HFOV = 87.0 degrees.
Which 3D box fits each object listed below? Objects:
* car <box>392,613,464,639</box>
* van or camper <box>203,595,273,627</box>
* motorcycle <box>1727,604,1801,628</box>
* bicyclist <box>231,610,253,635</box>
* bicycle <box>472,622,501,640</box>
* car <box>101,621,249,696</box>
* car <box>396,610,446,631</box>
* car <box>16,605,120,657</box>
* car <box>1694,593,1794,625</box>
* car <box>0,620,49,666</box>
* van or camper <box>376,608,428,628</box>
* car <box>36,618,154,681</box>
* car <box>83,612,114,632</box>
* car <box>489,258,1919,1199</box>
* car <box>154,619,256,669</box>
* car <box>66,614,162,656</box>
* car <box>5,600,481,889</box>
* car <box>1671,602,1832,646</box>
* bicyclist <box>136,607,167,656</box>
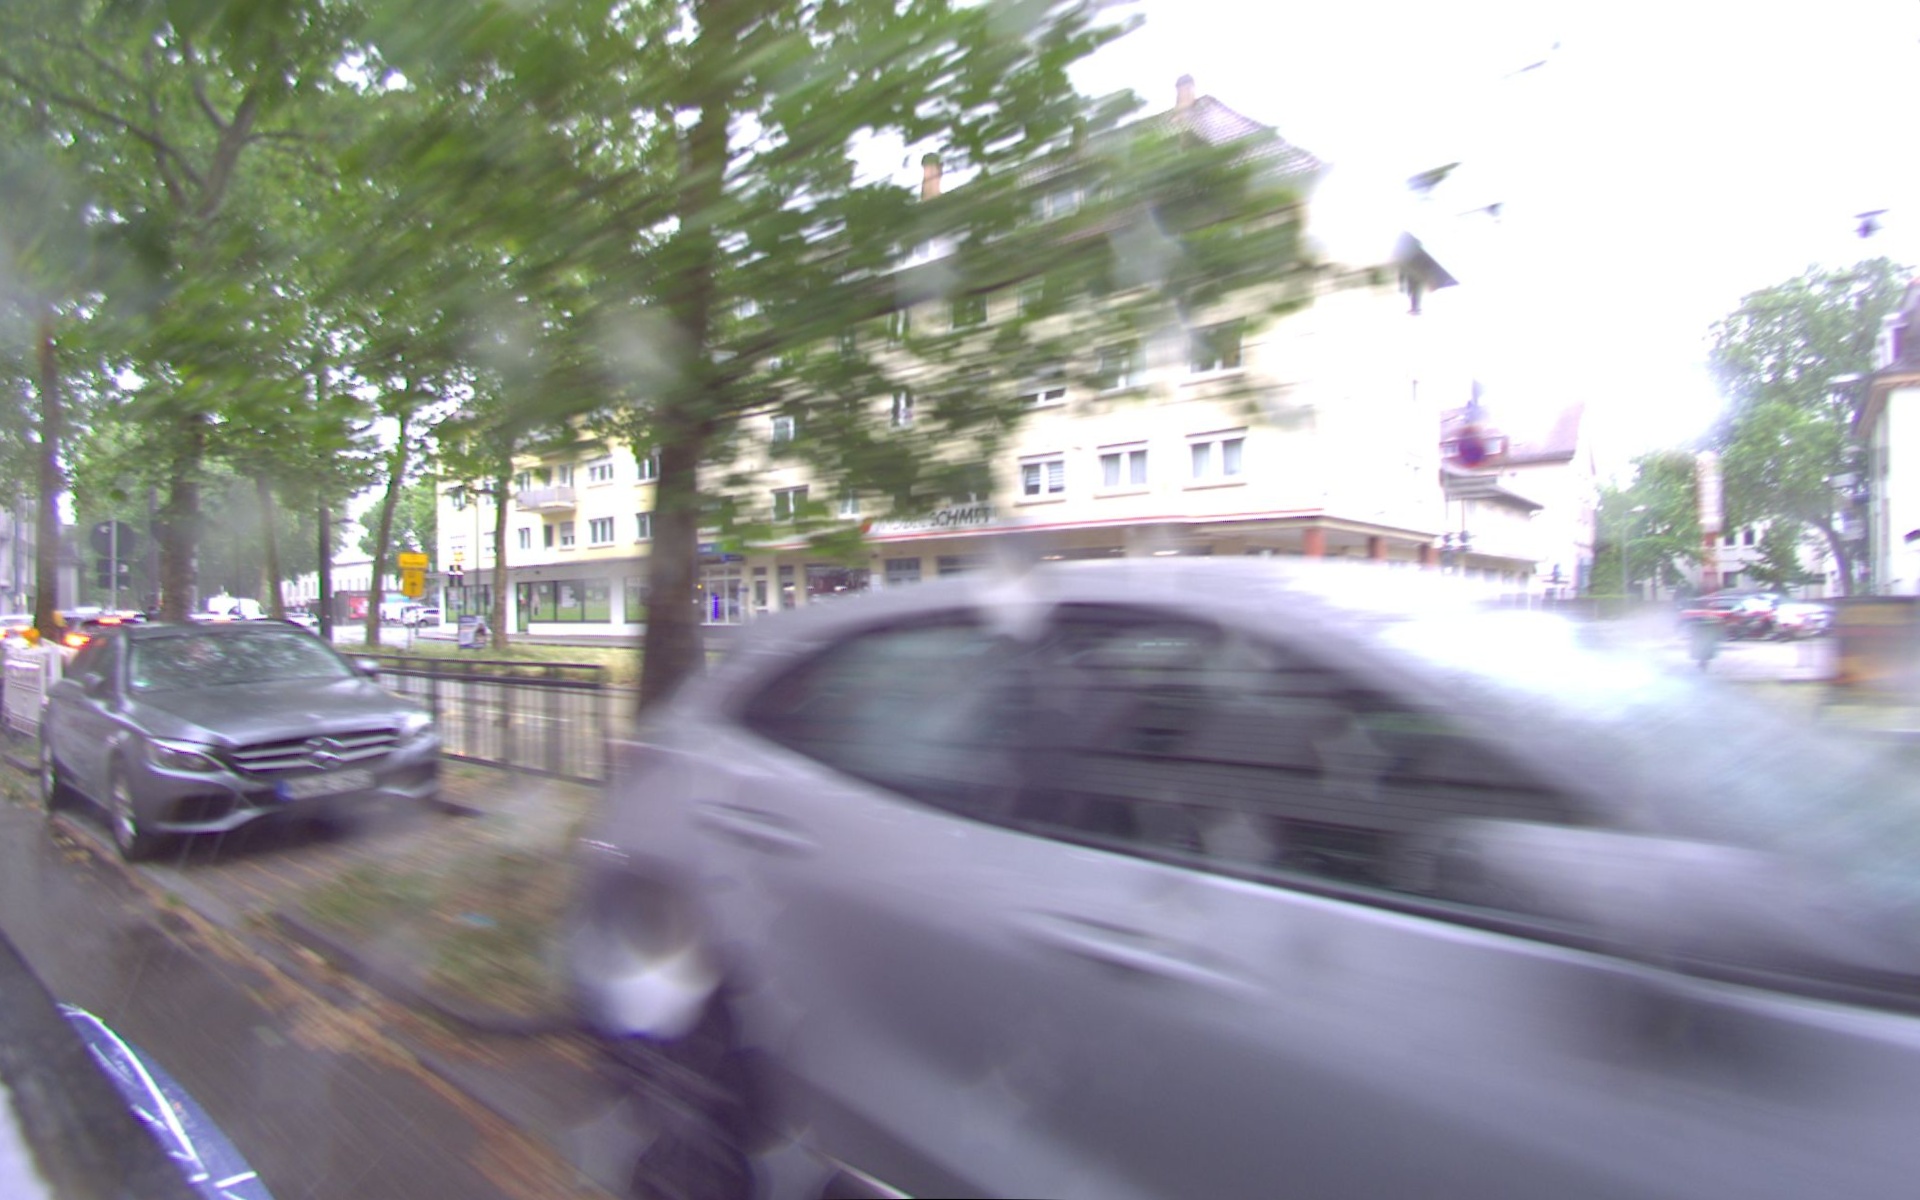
[{"bbox_3d":[-38.547,1.845,73.444,1.973,1.754,4.216,0,0,35],"label":"car"},{"bbox_3d":[-58.544,0.865,82.206,2.147,2.489,5.982,0,0,-9],"label":"van or camper"},{"bbox_3d":[23.935,0.466,30.166,0.512,0.715,1.680,0,0,-21],"label":"motorcycle"},{"bbox_3d":[-43.689,1.364,61.584,0.925,1.481,0.797,1,3,31],"label":"bicyclist"},{"bbox_3d":[-24.677,1.603,52.694,2.045,0.903,0.605,-1,-1,42],"label":"bicycle"},{"bbox_3d":[-16.934,1.192,21.762,4.230,1.408,1.723,-1,0,41],"label":"car"},{"bbox_3d":[-54.525,2.016,102.386,4.323,2.029,2.073,0,0,-33],"label":"car"},{"bbox_3d":[-28.378,0.964,32.158,4.637,1.496,1.838,-1,0,41],"label":"car"},{"bbox_3d":[32.917,0.362,42.570,1.323,1.235,3.034,-3,1,-29],"label":"car"},{"bbox_3d":[-33.755,1.499,35.839,4.498,1.500,1.716,-1,0,41],"label":"car"},{"bbox_3d":[-59.887,1.941,108.563,4.581,2.091,2.003,1,-1,-40],"label":"van or camper"},{"bbox_3d":[-22.672,1.242,26.478,4.429,1.491,1.723,-1,0,41],"label":"car"},{"bbox_3d":[-79.500,2.029,93.432,1.972,1.785,4.009,0,-1,-37],"label":"car"},{"bbox_3d":[0.875,0.543,1.935,4.354,1.648,1.680,-1,-1,42],"label":"car"},{"bbox_3d":[-23.623,1.344,31.600,4.128,1.408,1.723,-1,0,41],"label":"car"},{"bbox_3d":[-32.680,1.340,39.062,4.276,1.513,1.857,-1,-1,36],"label":"car"},{"bbox_3d":[-5.607,0.809,7.655,4.610,1.515,1.810,-1,1,40],"label":"car"},{"bbox_3d":[25.014,0.718,32.132,1.323,1.235,3.865,-3,1,-21],"label":"car"},{"bbox_3d":[-29.279,1.143,36.653,0.889,1.729,0.705,0,0,38],"label":"bicyclist"}]
